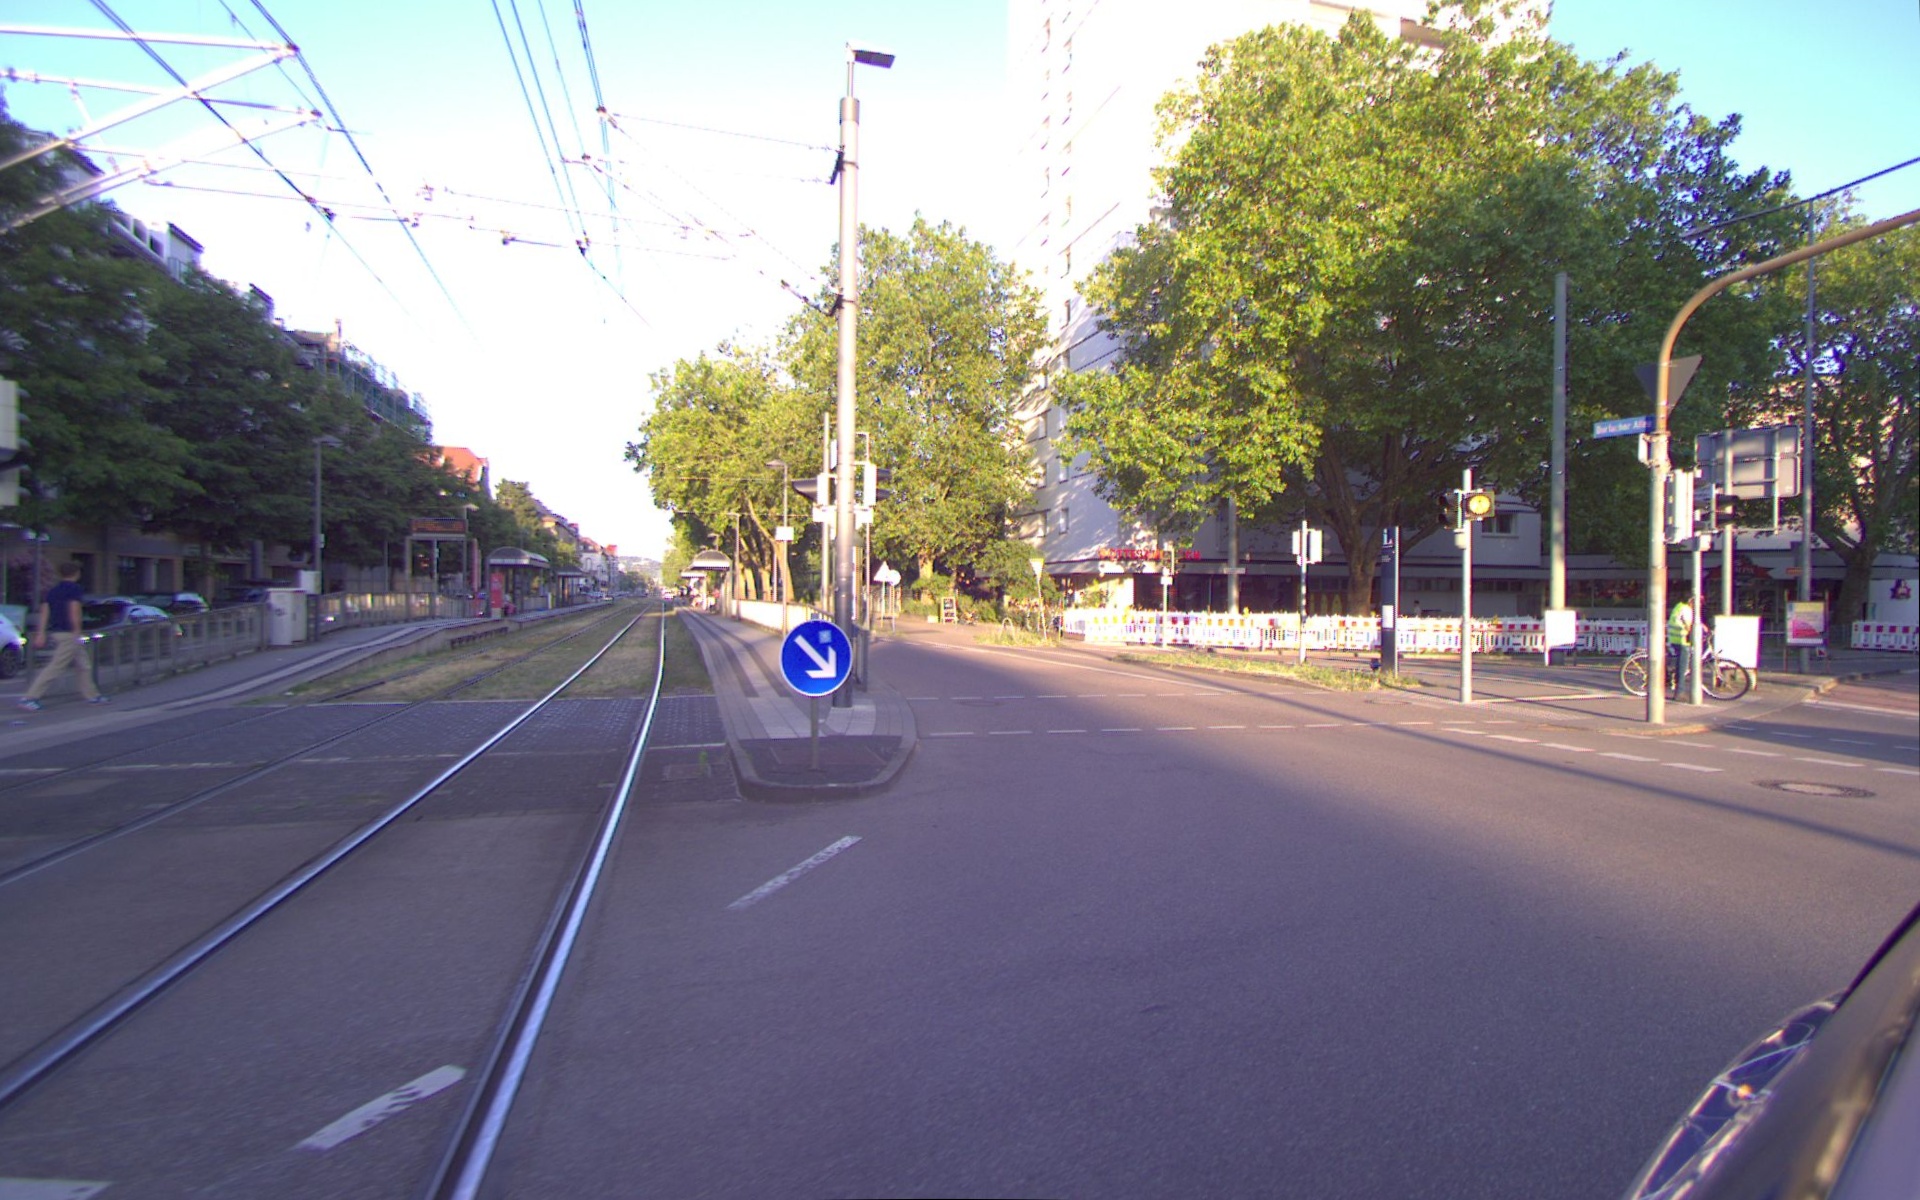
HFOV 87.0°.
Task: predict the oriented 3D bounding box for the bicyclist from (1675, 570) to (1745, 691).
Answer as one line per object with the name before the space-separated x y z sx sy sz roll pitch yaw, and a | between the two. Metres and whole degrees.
bicyclist | 11.735 0.465 15.848 0.689 1.847 0.624 -1 0 19

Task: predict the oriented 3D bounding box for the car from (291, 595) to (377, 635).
car | -24.786 0.563 40.221 1.811 1.505 4.008 0 0 -15

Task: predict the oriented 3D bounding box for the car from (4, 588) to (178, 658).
car | -20.504 0.490 24.099 1.811 1.505 4.008 0 0 -19

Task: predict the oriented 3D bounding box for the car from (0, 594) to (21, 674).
car | -18.551 0.659 17.433 1.811 1.505 4.008 0 0 -15

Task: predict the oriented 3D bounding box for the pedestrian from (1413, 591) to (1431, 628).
pedestrian | 20.040 0.405 43.877 0.636 1.608 0.739 -1 0 29

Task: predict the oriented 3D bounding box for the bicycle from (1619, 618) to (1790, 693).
bicycle | 11.634 0.846 15.886 2.045 1.123 0.624 0 0 19

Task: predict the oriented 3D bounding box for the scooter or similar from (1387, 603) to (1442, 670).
scooter or similar | 8.979 0.703 20.032 0.506 1.265 1.234 0 0 0

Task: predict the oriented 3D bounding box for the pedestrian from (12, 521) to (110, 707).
pedestrian | -11.338 0.166 12.764 0.818 2.237 0.857 -1 0 44
